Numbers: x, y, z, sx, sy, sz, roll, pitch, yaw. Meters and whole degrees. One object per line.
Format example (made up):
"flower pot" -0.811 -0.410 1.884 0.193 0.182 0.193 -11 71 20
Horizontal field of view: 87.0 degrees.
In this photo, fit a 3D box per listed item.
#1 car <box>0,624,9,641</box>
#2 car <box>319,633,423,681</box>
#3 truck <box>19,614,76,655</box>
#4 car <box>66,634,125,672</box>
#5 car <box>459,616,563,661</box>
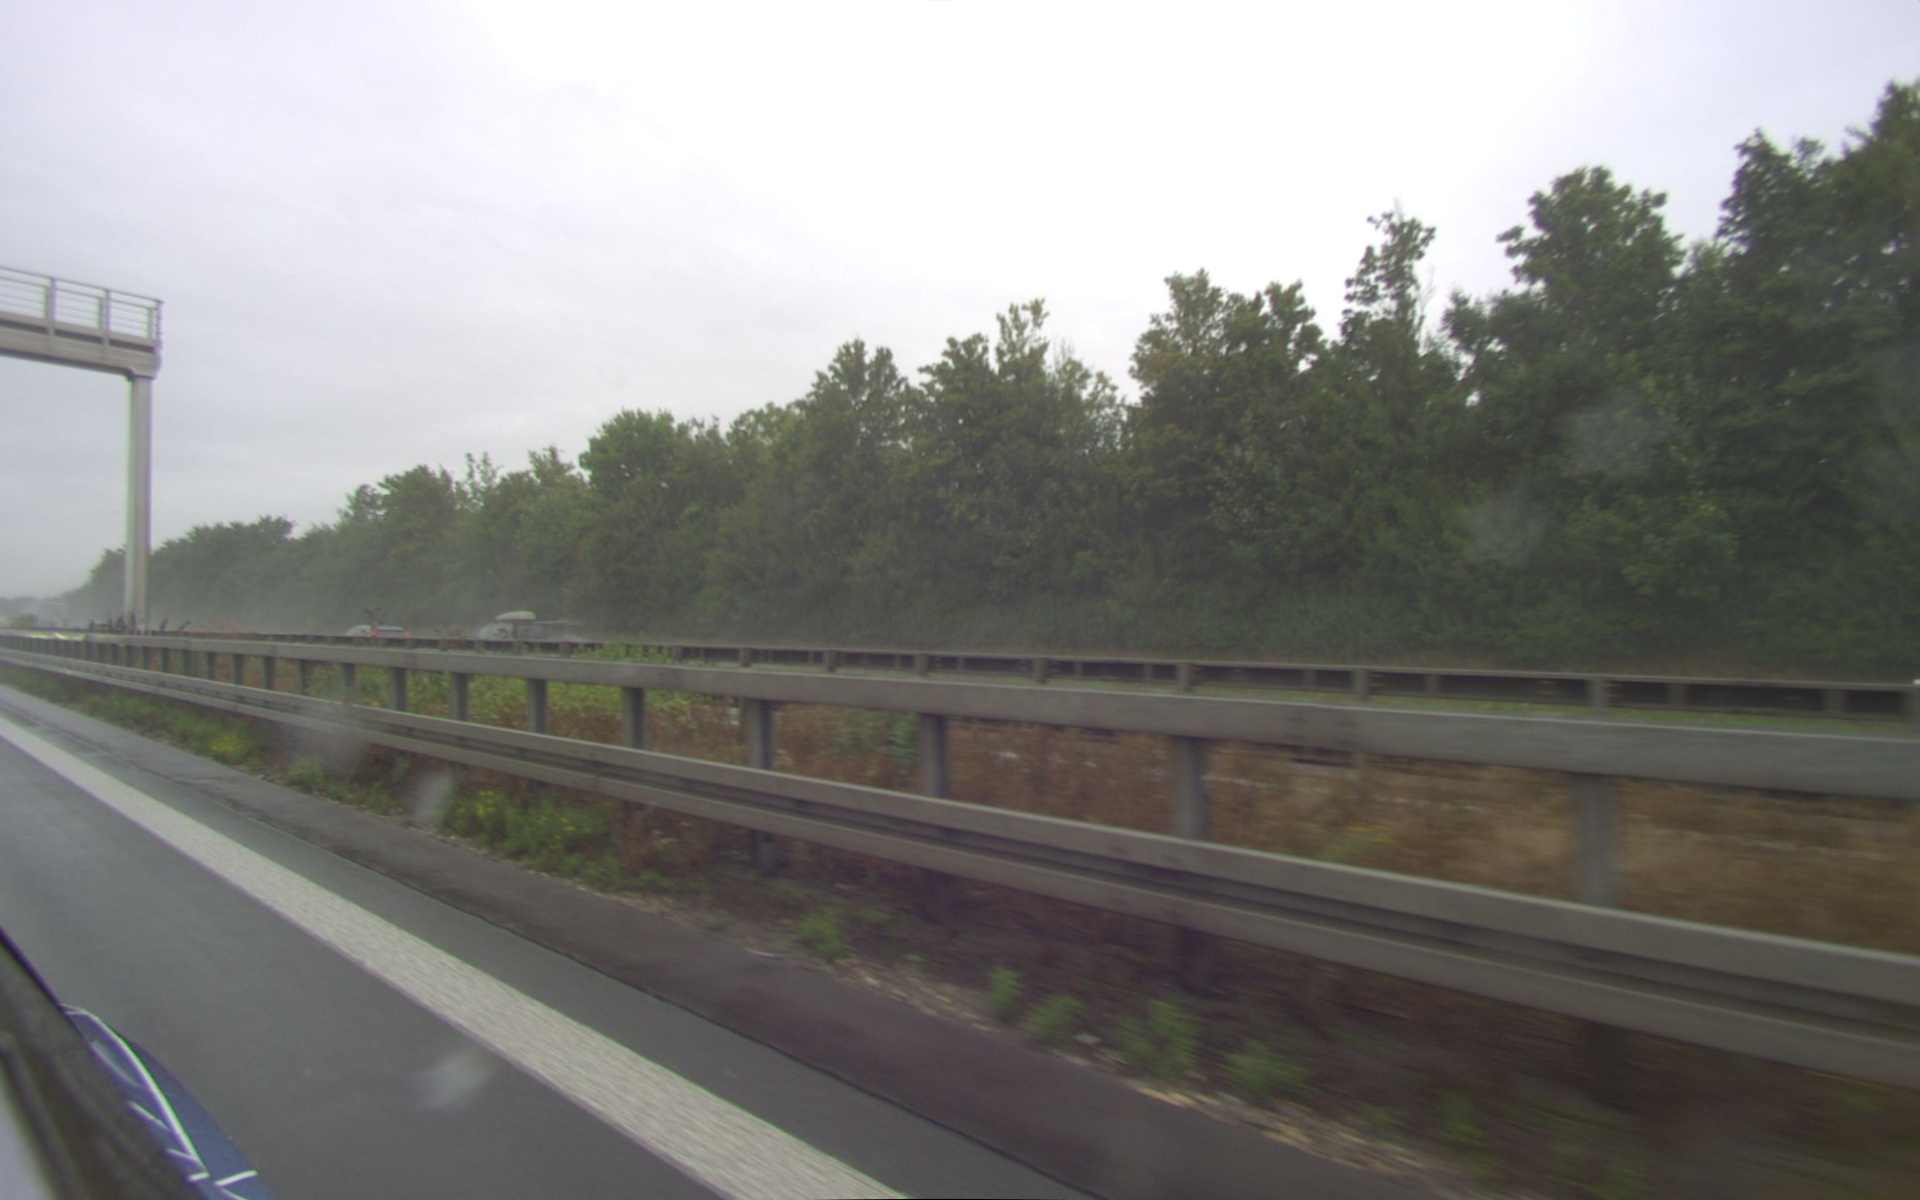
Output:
"car" -113.753 3.847 119.530 3.997 1.896 1.594 -2 -1 40
"car" -22.694 2.153 38.931 4.778 1.674 1.973 -2 -1 40
"truck" -111.163 4.239 123.174 17.086 4.710 2.935 -2 -1 40
"car" -49.407 3.005 57.799 5.023 2.029 1.781 -2 -1 40
"car" -18.282 1.555 41.148 4.778 1.674 1.973 -2 -1 40
